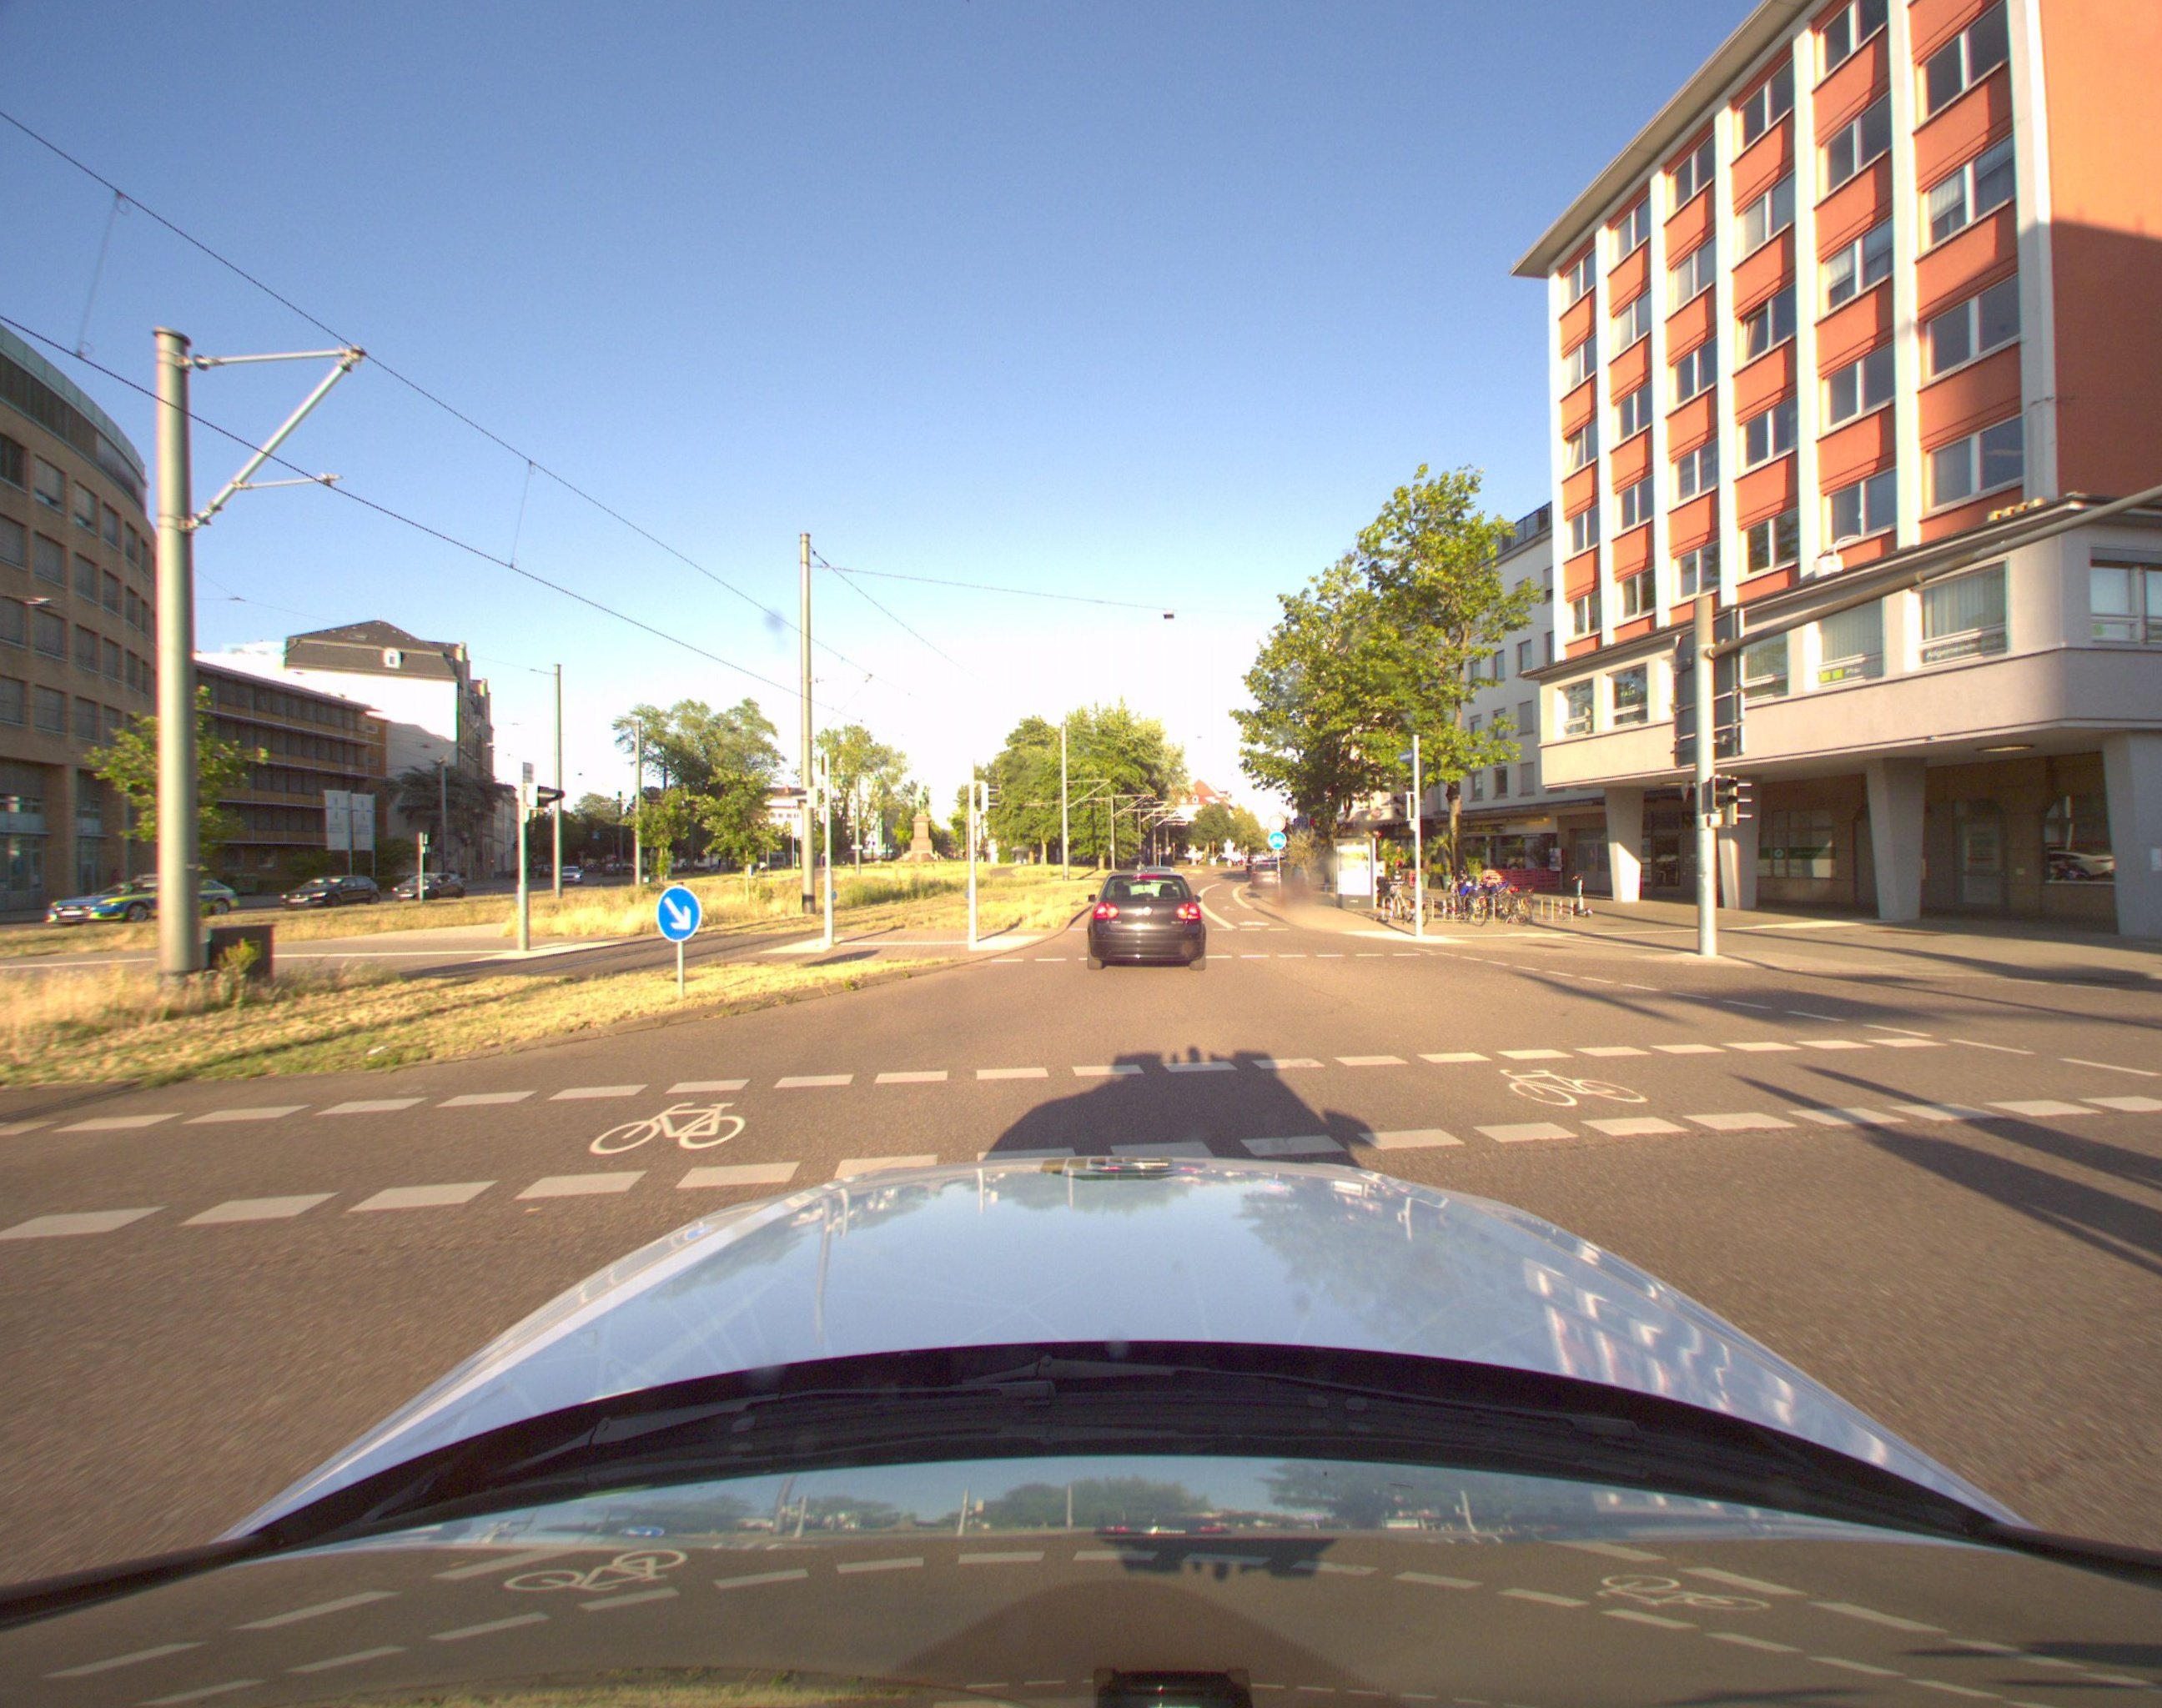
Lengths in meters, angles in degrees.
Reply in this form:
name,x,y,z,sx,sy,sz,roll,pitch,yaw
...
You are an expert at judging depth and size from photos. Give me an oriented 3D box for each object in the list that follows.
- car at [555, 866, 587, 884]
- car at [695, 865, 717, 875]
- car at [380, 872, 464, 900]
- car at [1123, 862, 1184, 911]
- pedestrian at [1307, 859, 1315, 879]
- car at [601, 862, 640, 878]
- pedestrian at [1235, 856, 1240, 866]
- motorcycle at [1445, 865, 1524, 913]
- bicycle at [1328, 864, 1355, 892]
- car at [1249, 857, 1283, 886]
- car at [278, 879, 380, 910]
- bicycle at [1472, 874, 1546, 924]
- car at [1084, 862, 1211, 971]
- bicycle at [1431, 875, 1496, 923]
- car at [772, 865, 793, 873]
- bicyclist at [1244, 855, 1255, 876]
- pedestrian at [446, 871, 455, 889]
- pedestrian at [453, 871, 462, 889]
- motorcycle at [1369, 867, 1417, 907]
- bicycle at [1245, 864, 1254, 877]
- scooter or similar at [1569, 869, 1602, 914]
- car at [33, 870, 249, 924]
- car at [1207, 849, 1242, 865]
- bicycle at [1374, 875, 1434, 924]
name,x,y,z,sx,sy,sz,roll,pitch,yaw
car,-45.302,1.833,72.376,1.778,1.482,4.275,-1,0,-24
car,-55.277,2.339,119.987,1.562,1.258,3.725,-3,0,-2
car,-33.287,1.584,41.255,1.645,1.281,3.729,-1,0,-9
car,2.620,1.090,28.652,1.854,1.441,4.207,-2,0,9
pedestrian,20.812,1.338,73.623,0.618,1.740,0.664,-4,-1,15
car,-60.803,2.086,107.585,4.317,1.970,1.761,-1,0,-26
pedestrian,23.268,1.052,121.150,0.731,1.555,0.634,0,-1,11
motorcycle,12.261,1.046,24.784,2.038,1.406,0.760,-1,0,-2
bicycle,11.635,1.059,36.392,0.420,1.158,1.751,-1,1,-7
car,10.350,0.952,45.373,1.716,1.472,3.914,-3,-1,14
car,-32.213,1.697,35.002,1.520,1.153,3.585,-1,0,-11
bicycle,11.312,1.158,21.599,0.644,1.158,2.119,-1,1,-7
car,1.043,0.887,13.294,1.740,1.461,4.107,0,0,3
bicycle,10.014,1.162,21.396,0.644,1.126,1.869,-1,1,-7
car,-53.872,2.675,146.926,3.341,1.361,1.513,-1,0,-13
bicyclist,13.305,0.909,64.157,0.771,1.618,1.029,0,0,14
pedestrian,-52.305,2.156,67.529,0.413,1.430,0.484,-1,0,-9
pedestrian,-51.754,2.162,67.599,0.413,1.430,0.484,-1,0,-9
motorcycle,10.246,1.055,26.820,0.664,1.242,2.199,0,0,-2
bicycle,13.275,1.295,64.176,0.574,0.987,1.943,0,0,14
scooter or similar,14.734,1.092,23.800,0.412,1.254,1.186,-1,0,11
car,-30.733,1.336,26.909,1.886,1.480,4.771,-1,0,-6
car,24.750,0.500,140.740,5.515,2.595,2.146,0,-1,-12
bicycle,8.374,1.151,21.184,0.644,1.126,1.869,-1,1,-7
